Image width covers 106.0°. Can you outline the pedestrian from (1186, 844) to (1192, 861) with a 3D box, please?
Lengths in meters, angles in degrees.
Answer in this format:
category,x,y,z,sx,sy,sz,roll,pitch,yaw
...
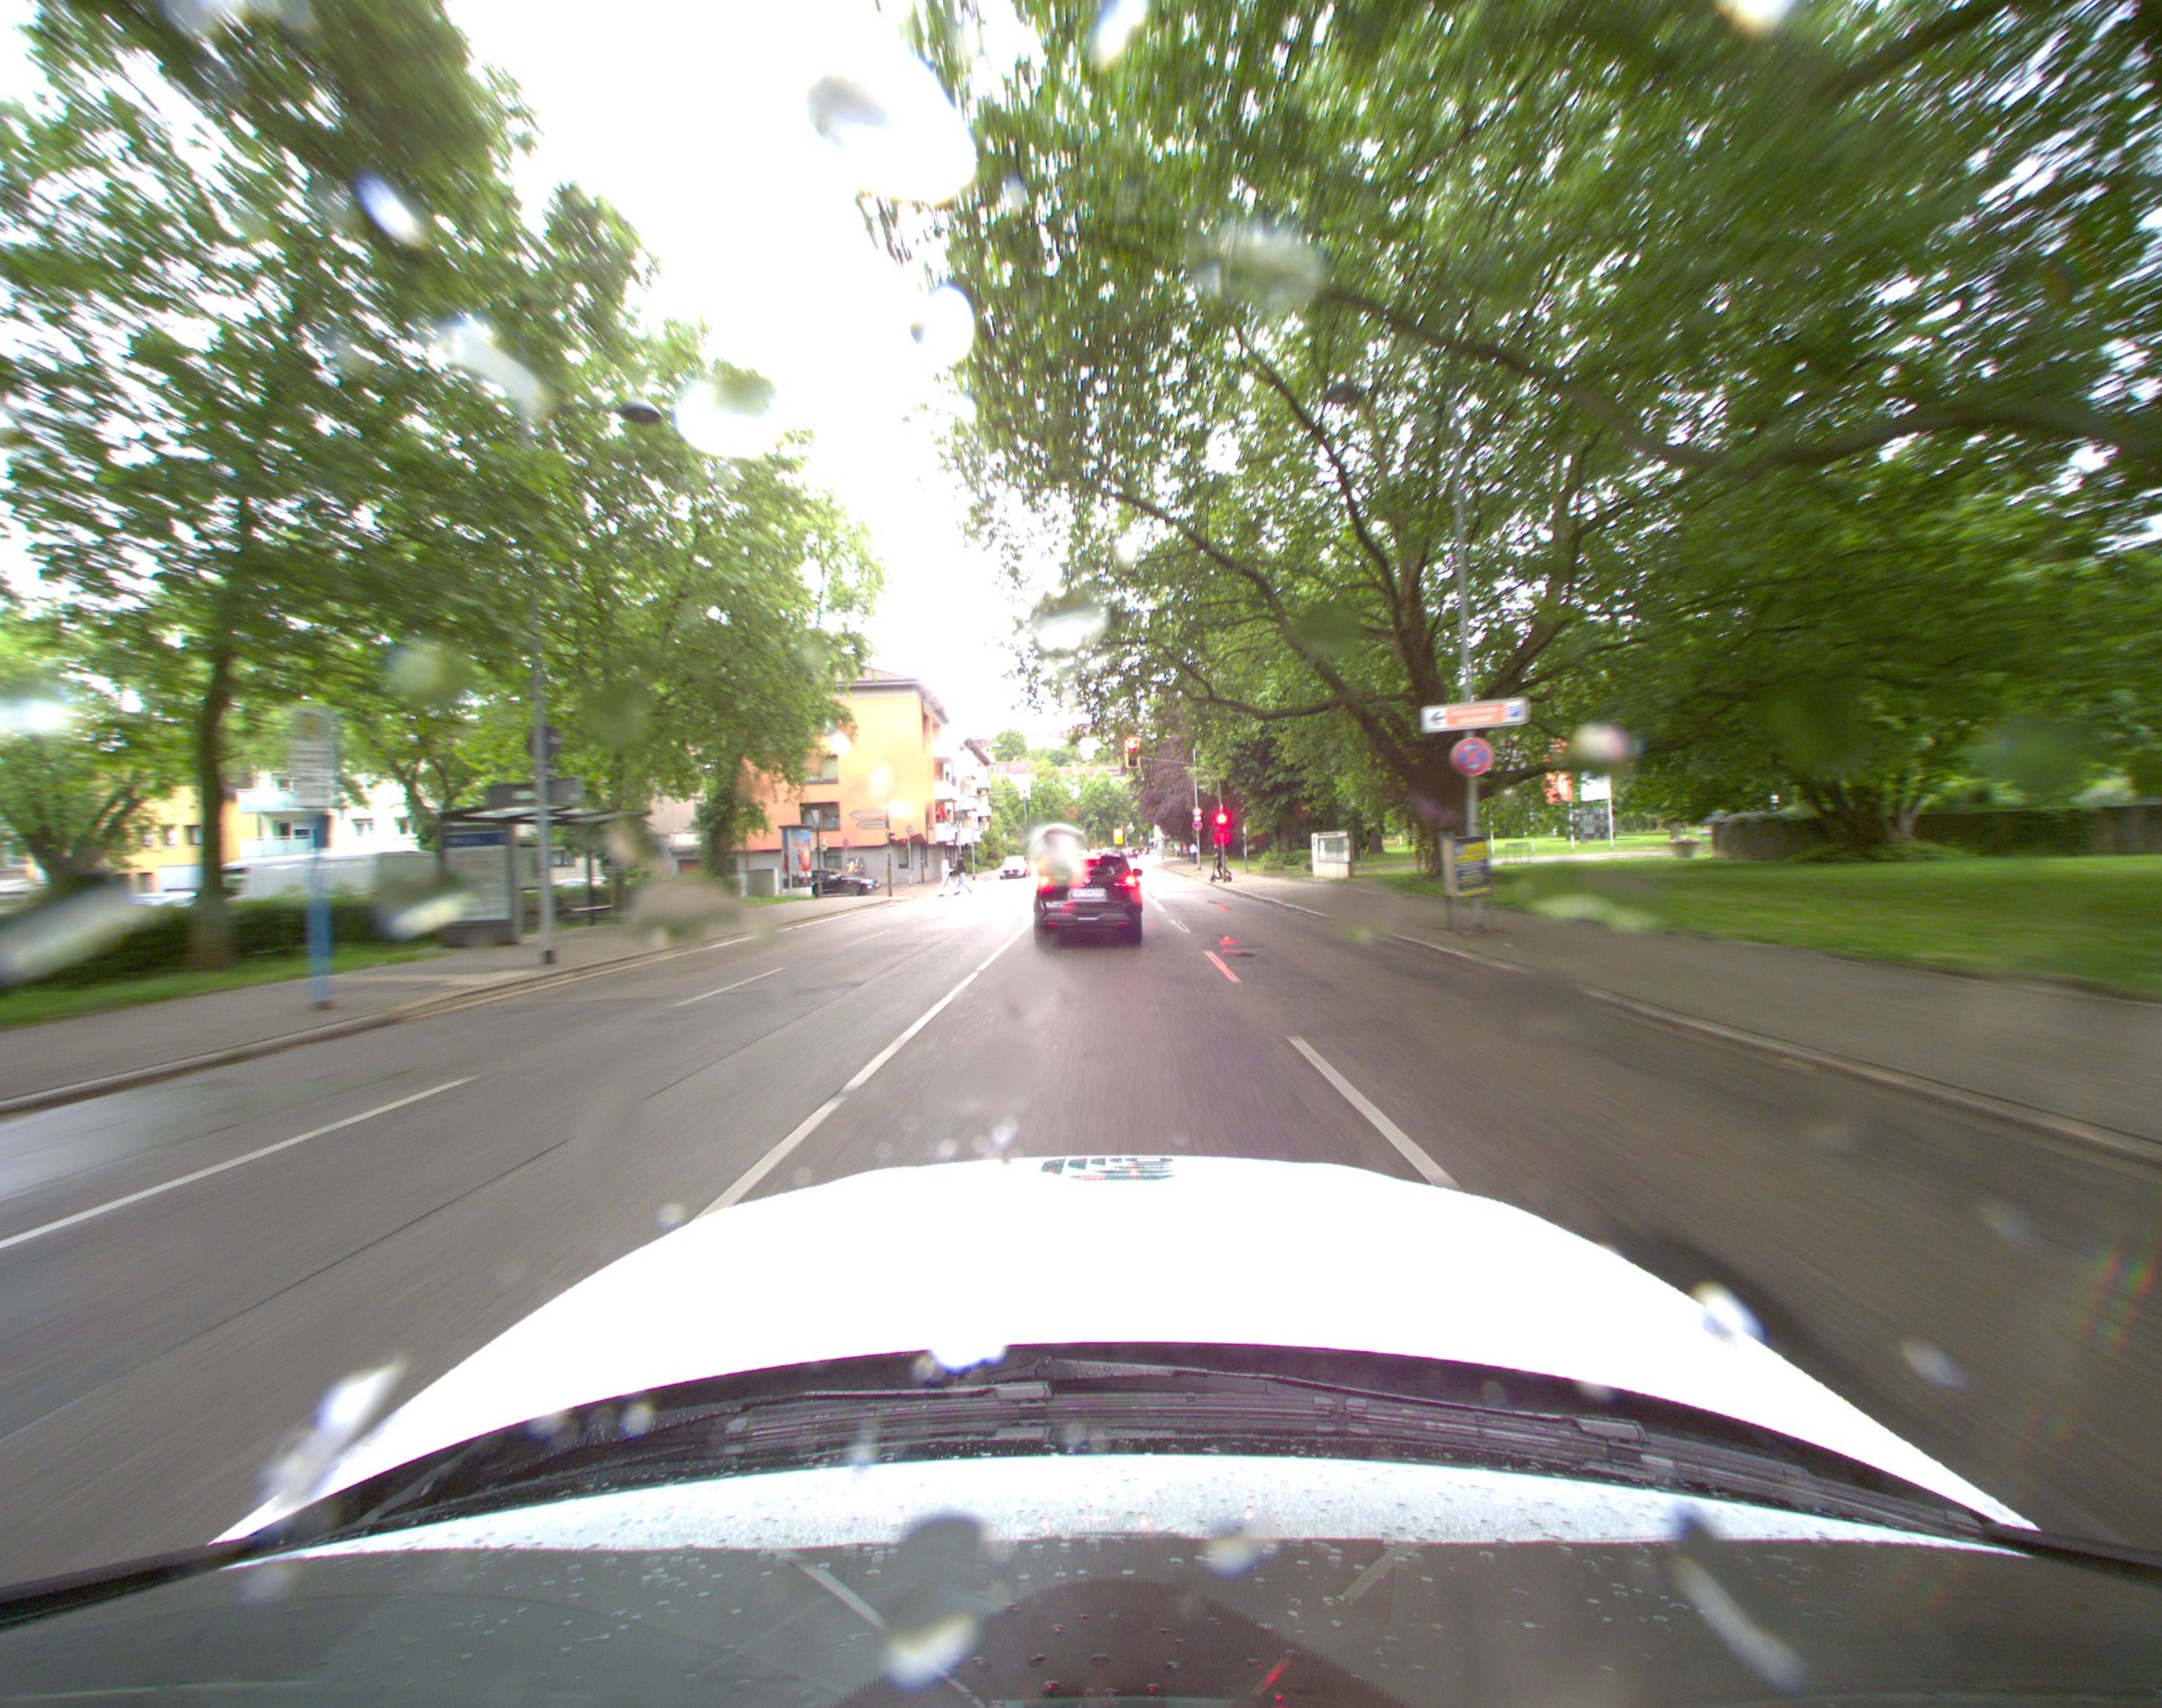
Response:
category,x,y,z,sx,sy,sz,roll,pitch,yaw
pedestrian,9.695,-0.143,73.033,0.388,1.502,0.559,-3,0,1

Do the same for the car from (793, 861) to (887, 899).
category,x,y,z,sx,sy,sz,roll,pitch,yaw
car,-11.838,1.263,40.221,4.118,1.625,1.848,-3,0,-6

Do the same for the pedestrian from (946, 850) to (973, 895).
category,x,y,z,sx,sy,sz,roll,pitch,yaw
pedestrian,-5.272,0.802,35.317,1.035,1.876,0.656,-3,0,-10

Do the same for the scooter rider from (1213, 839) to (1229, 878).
category,x,y,z,sx,sy,sz,roll,pitch,yaw
scooter rider,6.530,0.226,37.939,0.638,1.766,0.738,-2,-1,14

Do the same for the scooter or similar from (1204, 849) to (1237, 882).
category,x,y,z,sx,sy,sz,roll,pitch,yaw
scooter or similar,6.519,0.539,38.038,1.384,1.446,0.820,-2,-1,13

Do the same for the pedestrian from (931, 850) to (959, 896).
category,x,y,z,sx,sy,sz,roll,pitch,yaw
pedestrian,-5.758,0.797,34.476,1.035,1.876,0.656,-3,0,-10

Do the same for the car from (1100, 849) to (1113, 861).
category,x,y,z,sx,sy,sz,roll,pitch,yaw
car,3.560,0.175,112.819,1.628,1.532,3.969,-3,0,2

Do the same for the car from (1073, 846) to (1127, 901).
category,x,y,z,sx,sy,sz,roll,pitch,yaw
car,0.674,0.632,28.527,1.692,1.745,3.642,-3,0,2

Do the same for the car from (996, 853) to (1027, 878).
category,x,y,z,sx,sy,sz,roll,pitch,yaw
car,-4.639,0.769,55.079,1.791,1.533,3.864,-3,0,-2

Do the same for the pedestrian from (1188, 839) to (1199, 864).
category,x,y,z,sx,sy,sz,roll,pitch,yaw
pedestrian,9.535,-0.210,69.116,0.722,2.013,0.852,-3,0,1

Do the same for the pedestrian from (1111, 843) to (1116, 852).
category,x,y,z,sx,sy,sz,roll,pitch,yaw
pedestrian,5.939,-1.147,149.098,0.503,1.673,0.663,-3,0,29

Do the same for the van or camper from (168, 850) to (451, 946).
category,x,y,z,sx,sy,sz,roll,pitch,yaw
van or camper,-17.917,0.966,19.102,4.582,1.949,1.999,-2,0,-1

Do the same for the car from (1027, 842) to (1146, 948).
category,x,y,z,sx,sy,sz,roll,pitch,yaw
car,0.153,0.654,15.098,1.906,1.680,4.002,-1,0,2

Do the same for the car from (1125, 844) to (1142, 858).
category,x,y,z,sx,sy,sz,roll,pitch,yaw
car,6.800,-0.417,105.906,1.983,1.735,4.007,0,0,6

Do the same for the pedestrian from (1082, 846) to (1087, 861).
category,x,y,z,sx,sy,sz,roll,pitch,yaw
pedestrian,0.372,-0.063,95.591,0.506,1.802,0.620,-3,0,1
